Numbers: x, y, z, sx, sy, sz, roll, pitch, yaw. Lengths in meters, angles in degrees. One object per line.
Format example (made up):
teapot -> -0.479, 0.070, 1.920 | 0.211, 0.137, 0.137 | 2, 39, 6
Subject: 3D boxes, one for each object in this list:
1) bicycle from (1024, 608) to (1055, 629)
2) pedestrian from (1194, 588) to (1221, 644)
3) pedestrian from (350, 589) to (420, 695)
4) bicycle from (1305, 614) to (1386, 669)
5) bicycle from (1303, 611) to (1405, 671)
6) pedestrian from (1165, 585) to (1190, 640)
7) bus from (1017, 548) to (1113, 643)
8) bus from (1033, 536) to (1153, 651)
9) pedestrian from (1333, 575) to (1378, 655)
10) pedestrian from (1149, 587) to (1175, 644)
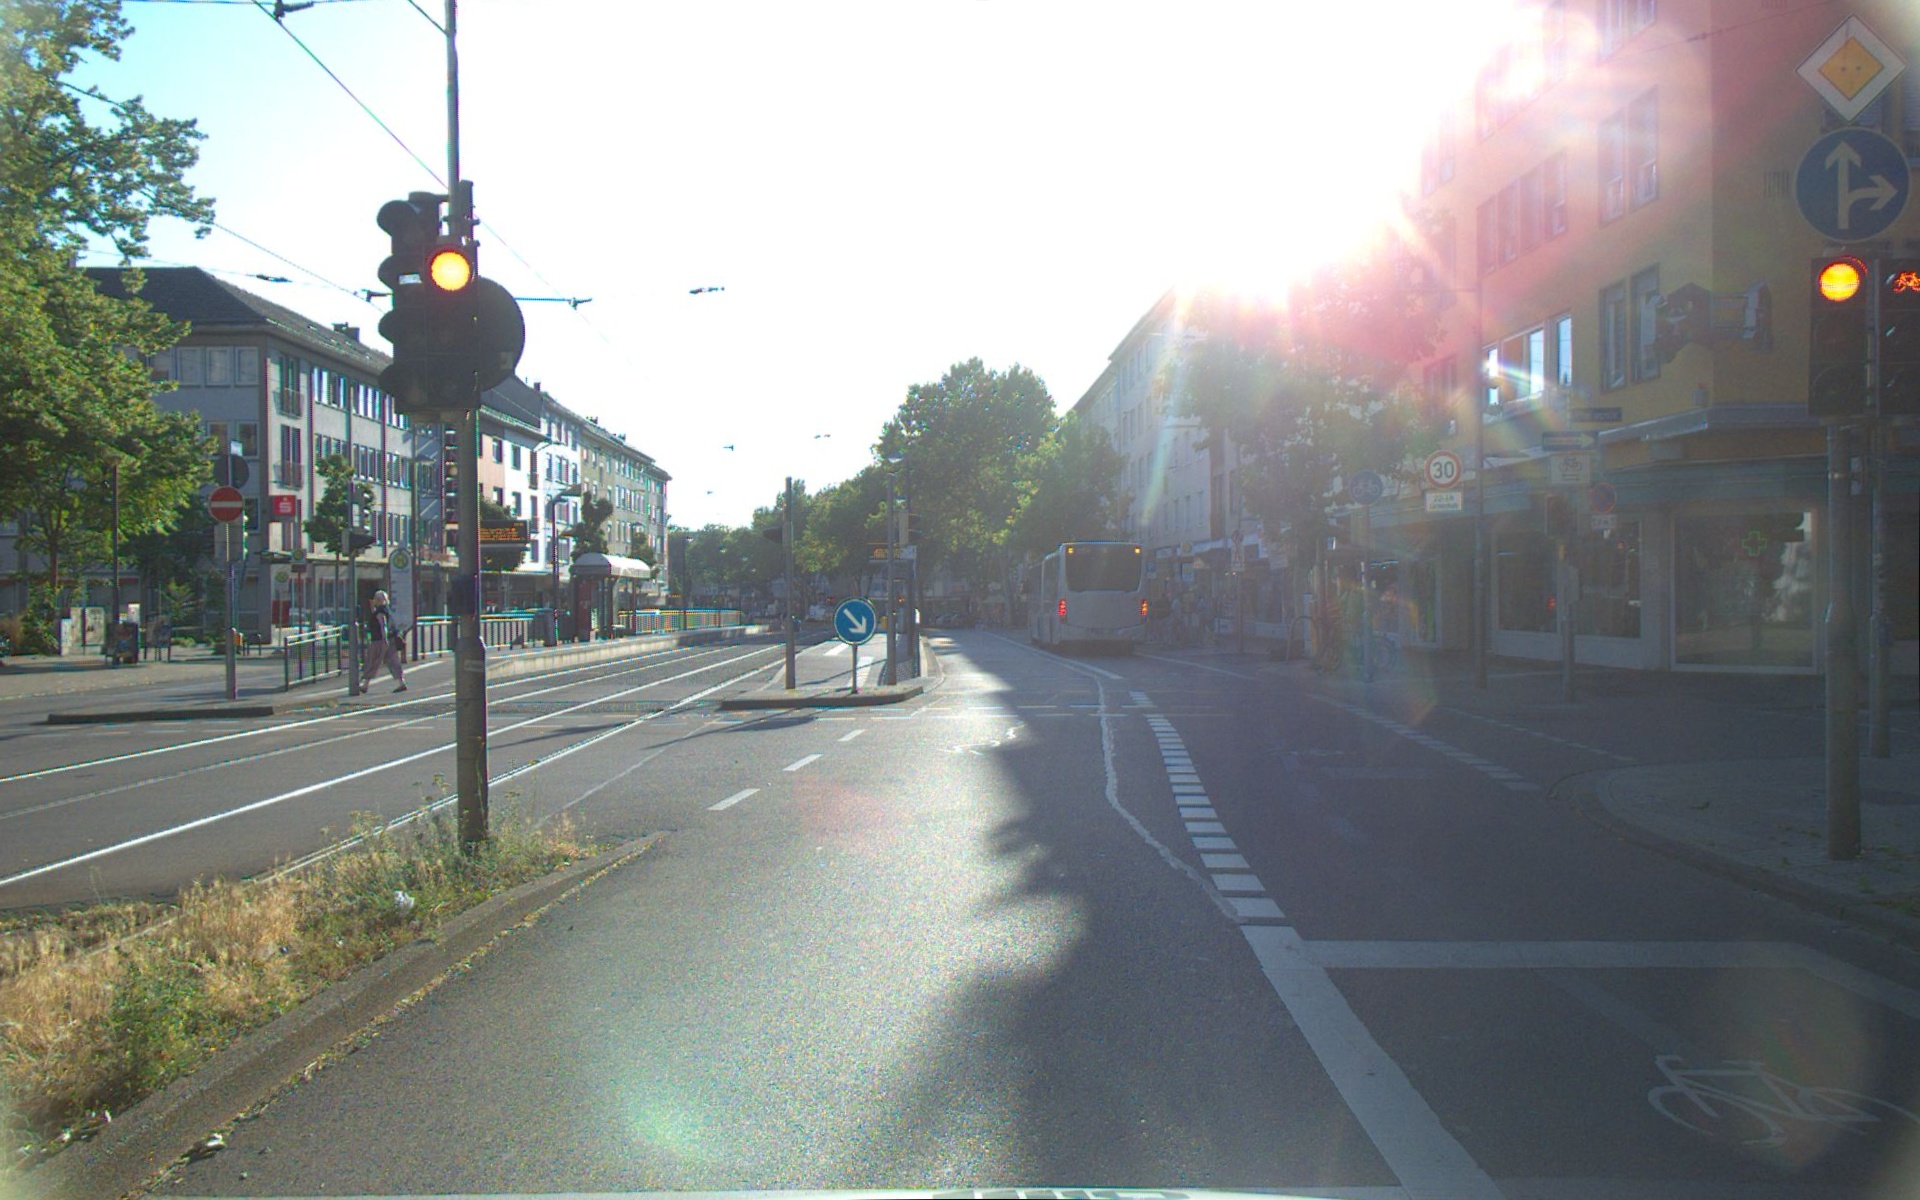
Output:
bicycle -> 4.850, 1.131, 101.017 | 1.848, 1.096, 0.754 | -5, 0, 1
pedestrian -> 7.995, 0.515, 53.369 | 0.709, 1.753, 0.766 | -1, -1, -2
pedestrian -> -9.975, 0.717, 28.722 | 0.900, 1.791, 0.832 | -1, -1, 0
bicycle -> 7.444, 0.792, 31.964 | 1.453, 1.026, 0.454 | -1, 0, -5
bicycle -> 7.451, 0.766, 31.337 | 1.763, 1.026, 0.540 | -3, 0, -5
pedestrian -> 7.324, 0.415, 55.743 | 0.709, 1.810, 0.766 | -1, -1, -2
bus -> 3.634, -0.143, 59.458 | 2.642, 3.173, 9.067 | 0, 0, -2
bus -> 3.873, -0.166, 50.266 | 2.642, 3.173, 9.378 | 0, 0, -2
pedestrian -> 9.235, 0.341, 38.680 | 0.728, 1.811, 0.894 | -3, -1, -2
pedestrian -> 6.555, 0.501, 53.614 | 0.709, 1.838, 0.766 | -1, -1, -2
